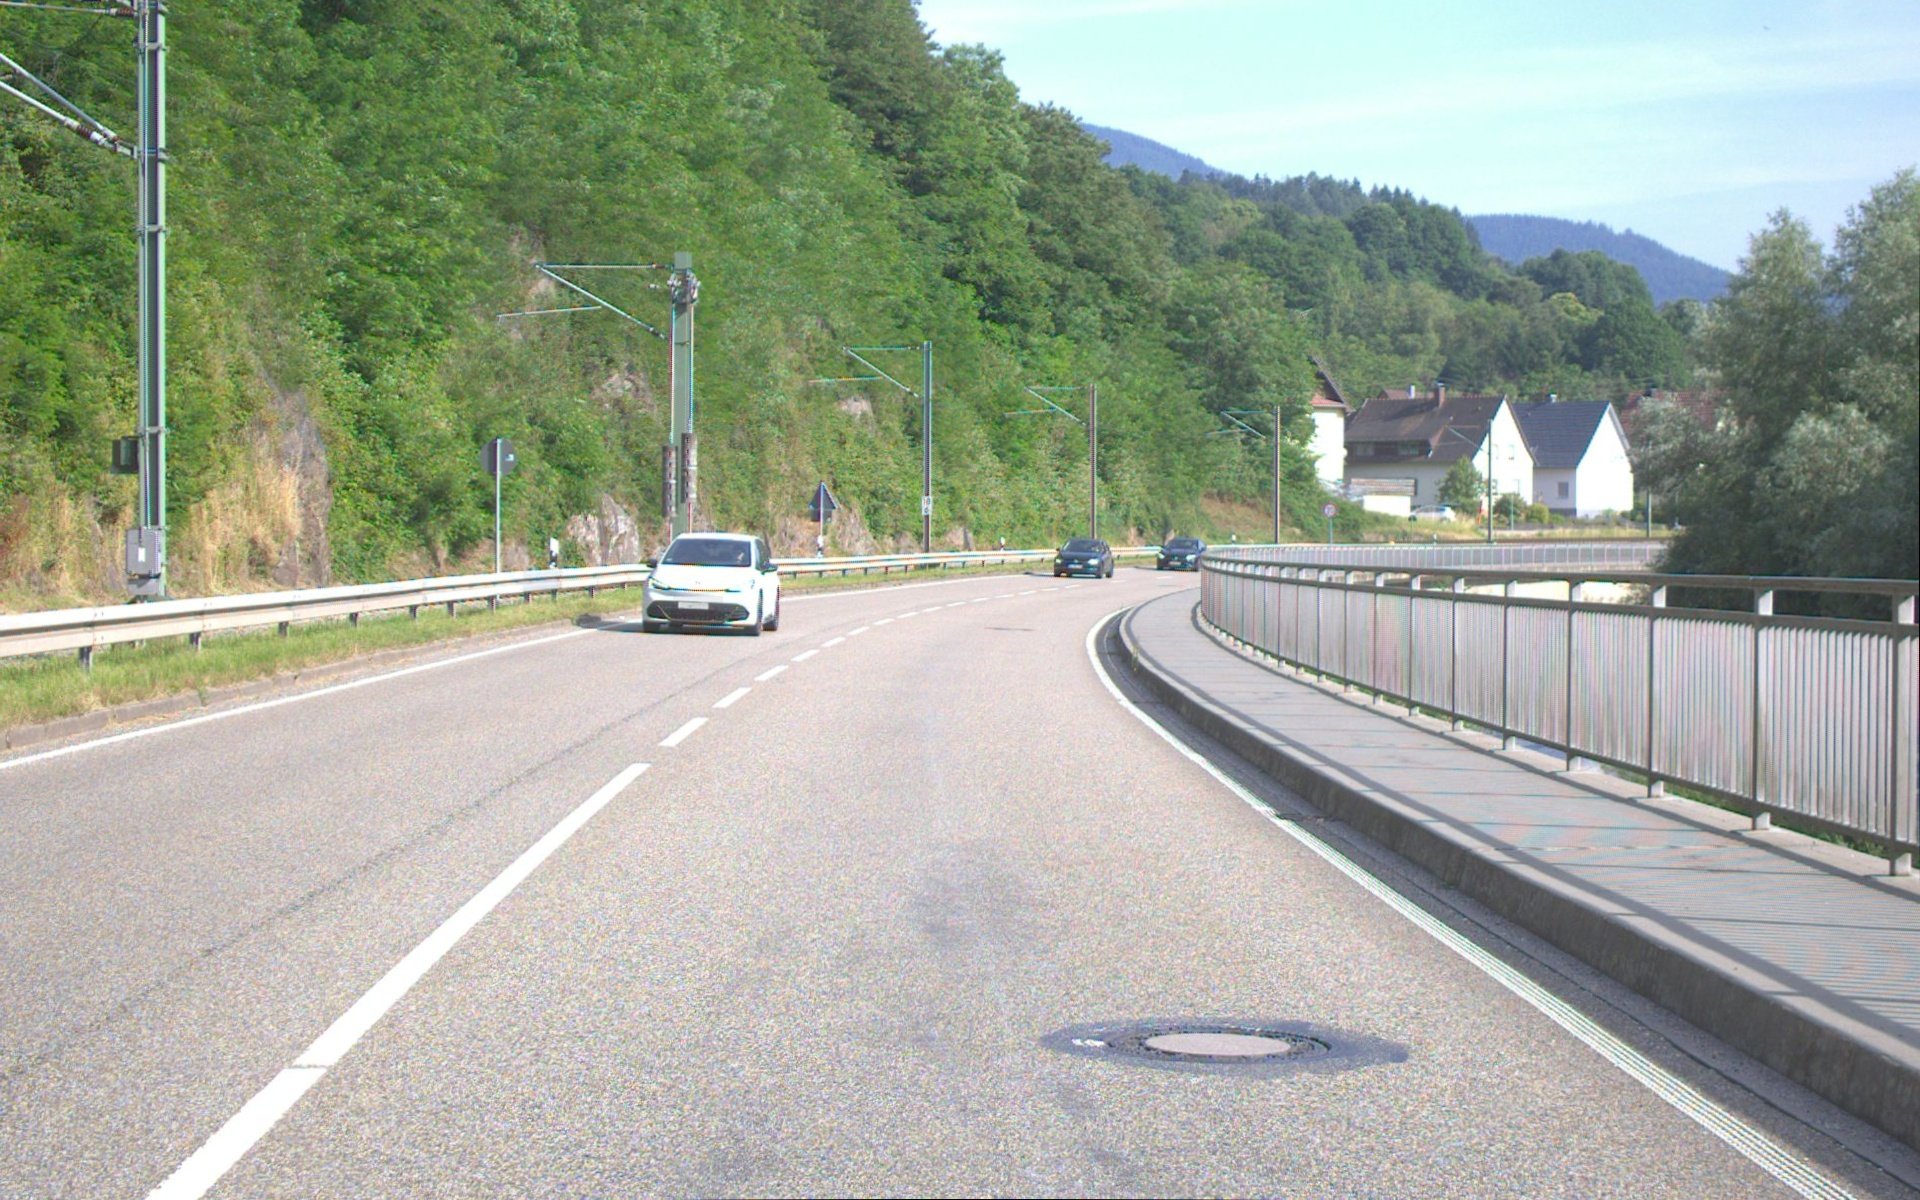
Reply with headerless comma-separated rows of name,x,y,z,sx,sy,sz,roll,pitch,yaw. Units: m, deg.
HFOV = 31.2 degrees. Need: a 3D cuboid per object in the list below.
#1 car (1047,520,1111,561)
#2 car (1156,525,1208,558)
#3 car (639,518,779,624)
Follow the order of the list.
car,4.404,-2.204,126.966,1.848,1.435,3.896,-1,1,10
car,9.687,-2.556,149.880,1.848,1.397,4.475,1,1,9
car,-3.859,-0.481,53.434,1.847,1.539,4.604,2,1,-1
